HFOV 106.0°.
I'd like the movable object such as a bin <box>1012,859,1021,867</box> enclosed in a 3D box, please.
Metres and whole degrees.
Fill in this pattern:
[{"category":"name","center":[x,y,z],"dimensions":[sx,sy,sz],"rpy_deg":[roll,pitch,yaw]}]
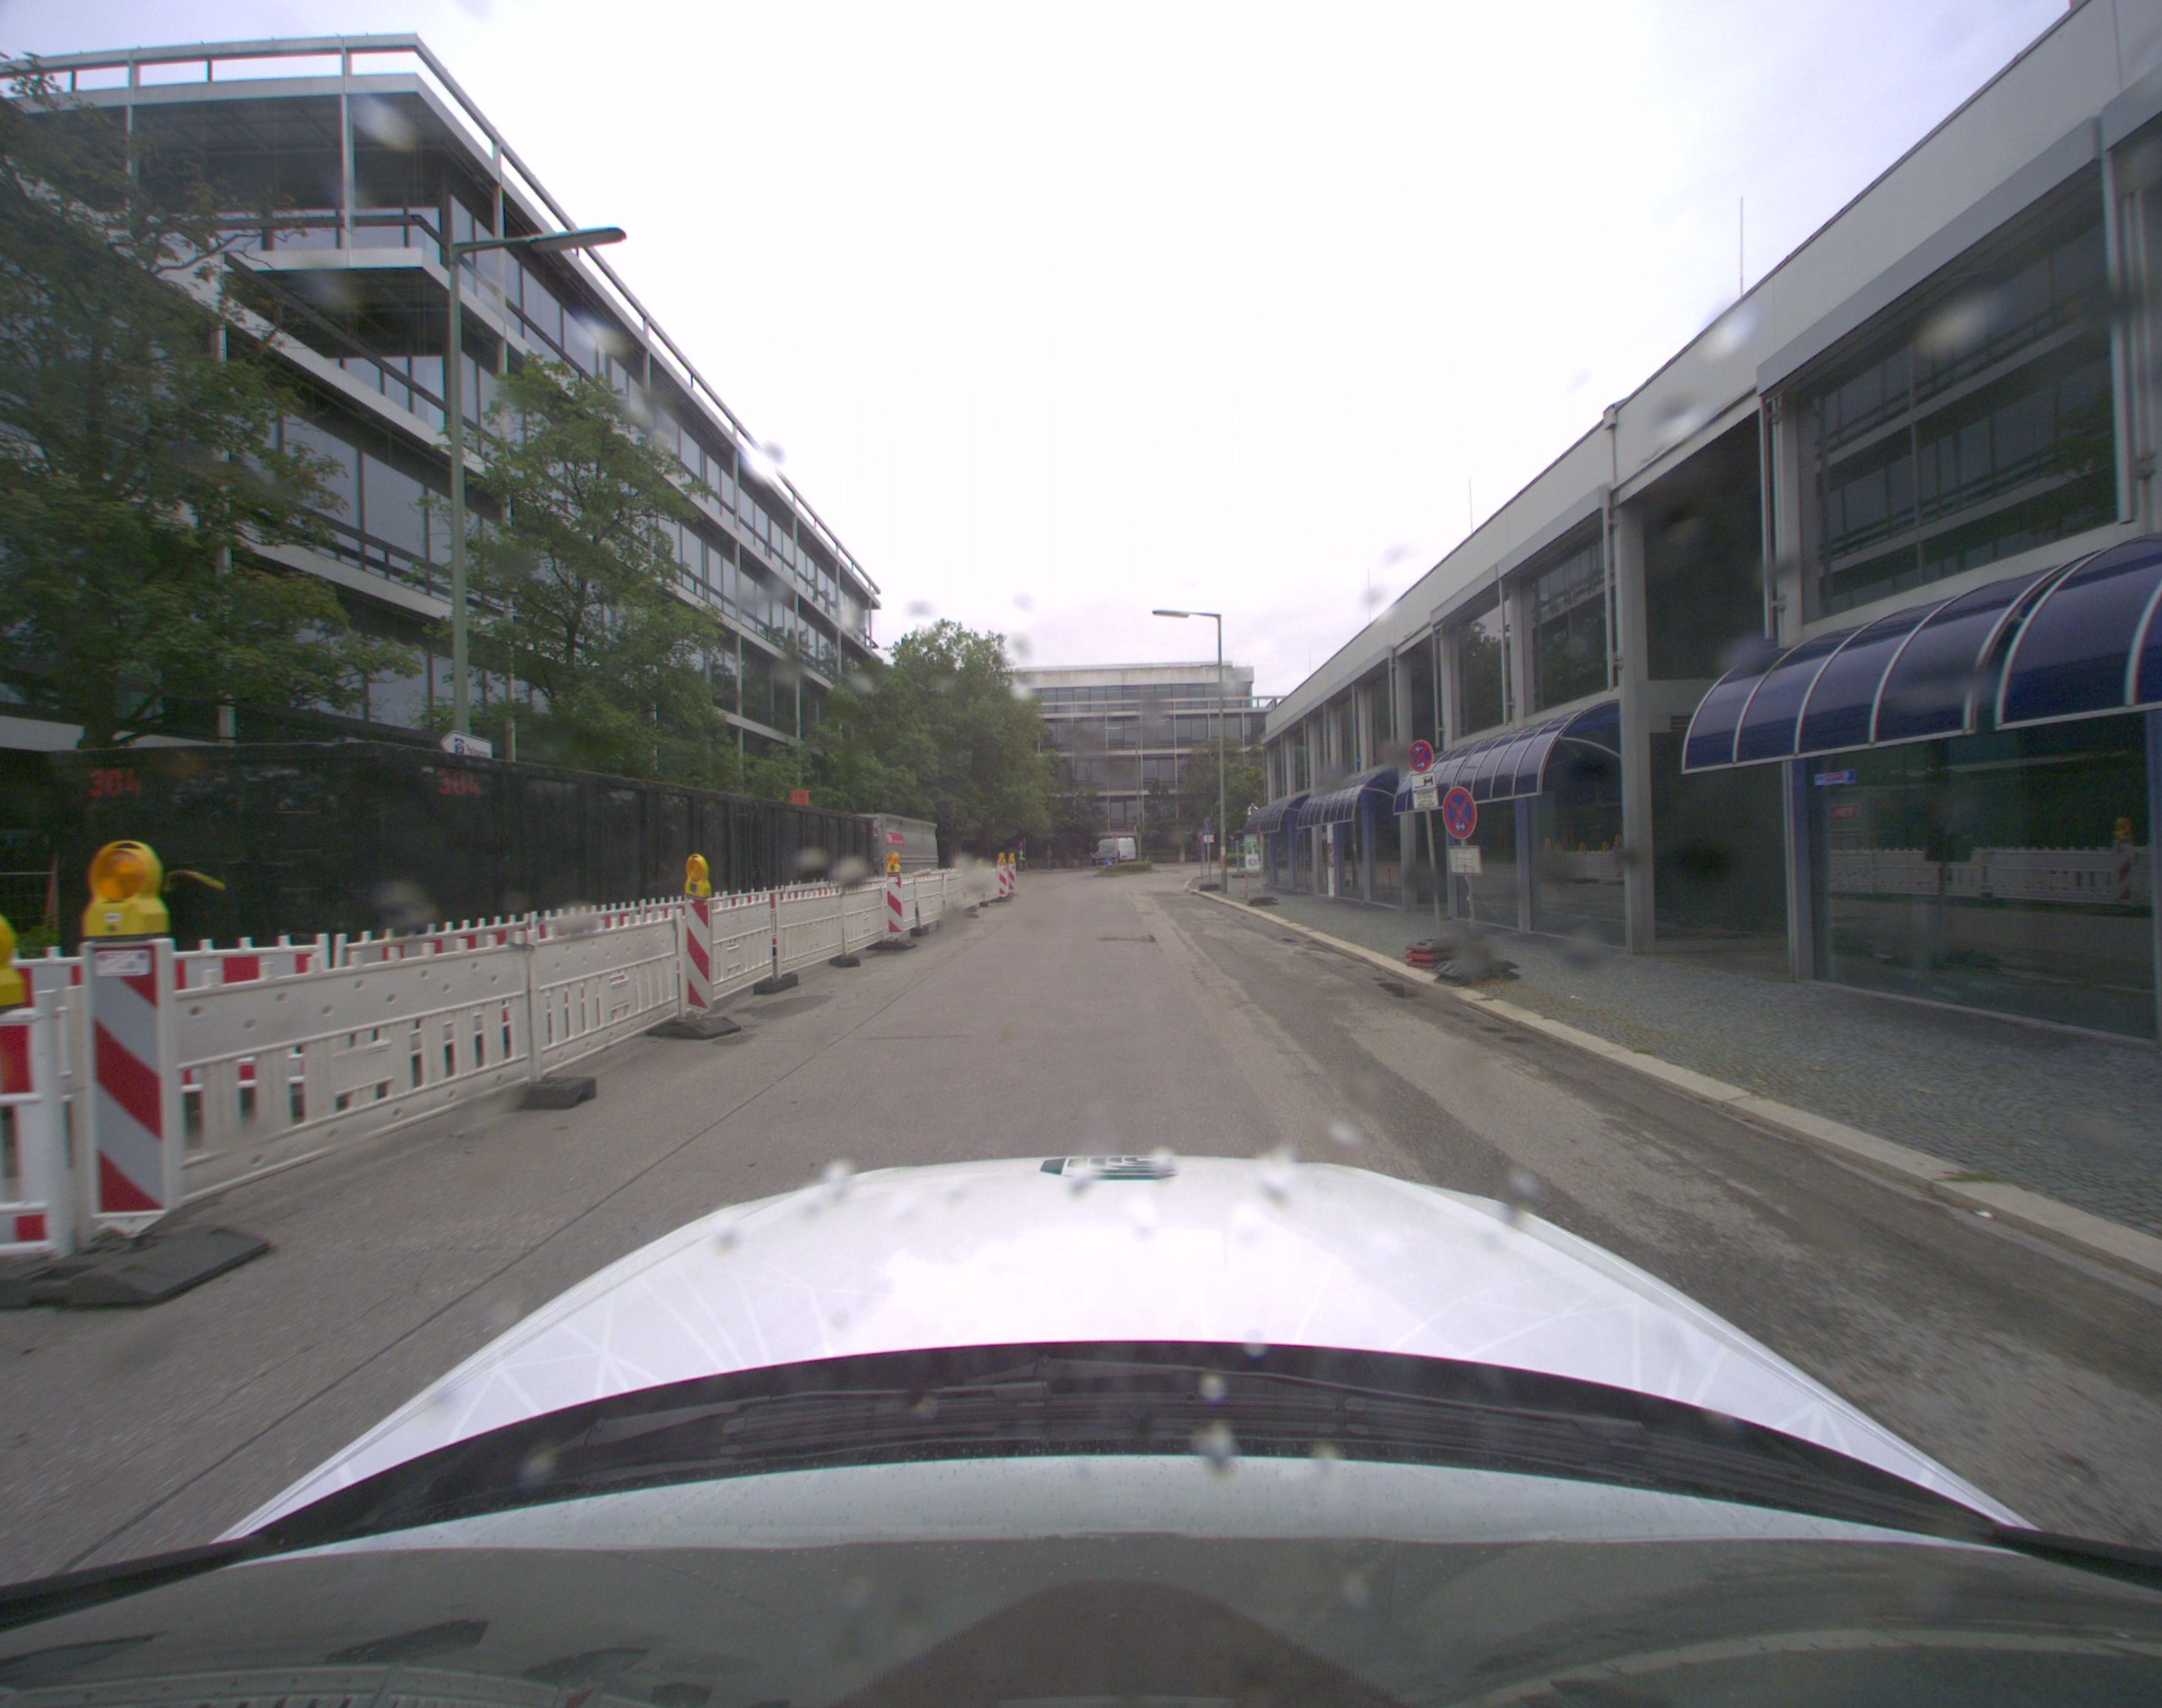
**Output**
[{"category":"movable object such as a bin","center":[-6.253,0.907,79.179],"dimensions":[0.831,0.753,0.573],"rpy_deg":[-1,0,4]}]

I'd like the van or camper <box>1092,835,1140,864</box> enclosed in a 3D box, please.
[{"category":"van or camper","center":[3.411,-0.378,81.164],"dimensions":[2.166,2.580,6.486],"rpy_deg":[-1,-1,-24]}]

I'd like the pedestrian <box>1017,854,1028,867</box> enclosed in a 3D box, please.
[{"category":"pedestrian","center":[-5.693,0.644,79.203],"dimensions":[0.922,1.278,0.542],"rpy_deg":[-1,0,3]}]

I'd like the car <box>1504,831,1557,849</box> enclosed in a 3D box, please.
[{"category":"car","center":[43.028,-1.296,77.971],"dimensions":[3.970,1.574,2.002],"rpy_deg":[-2,0,3]}]
